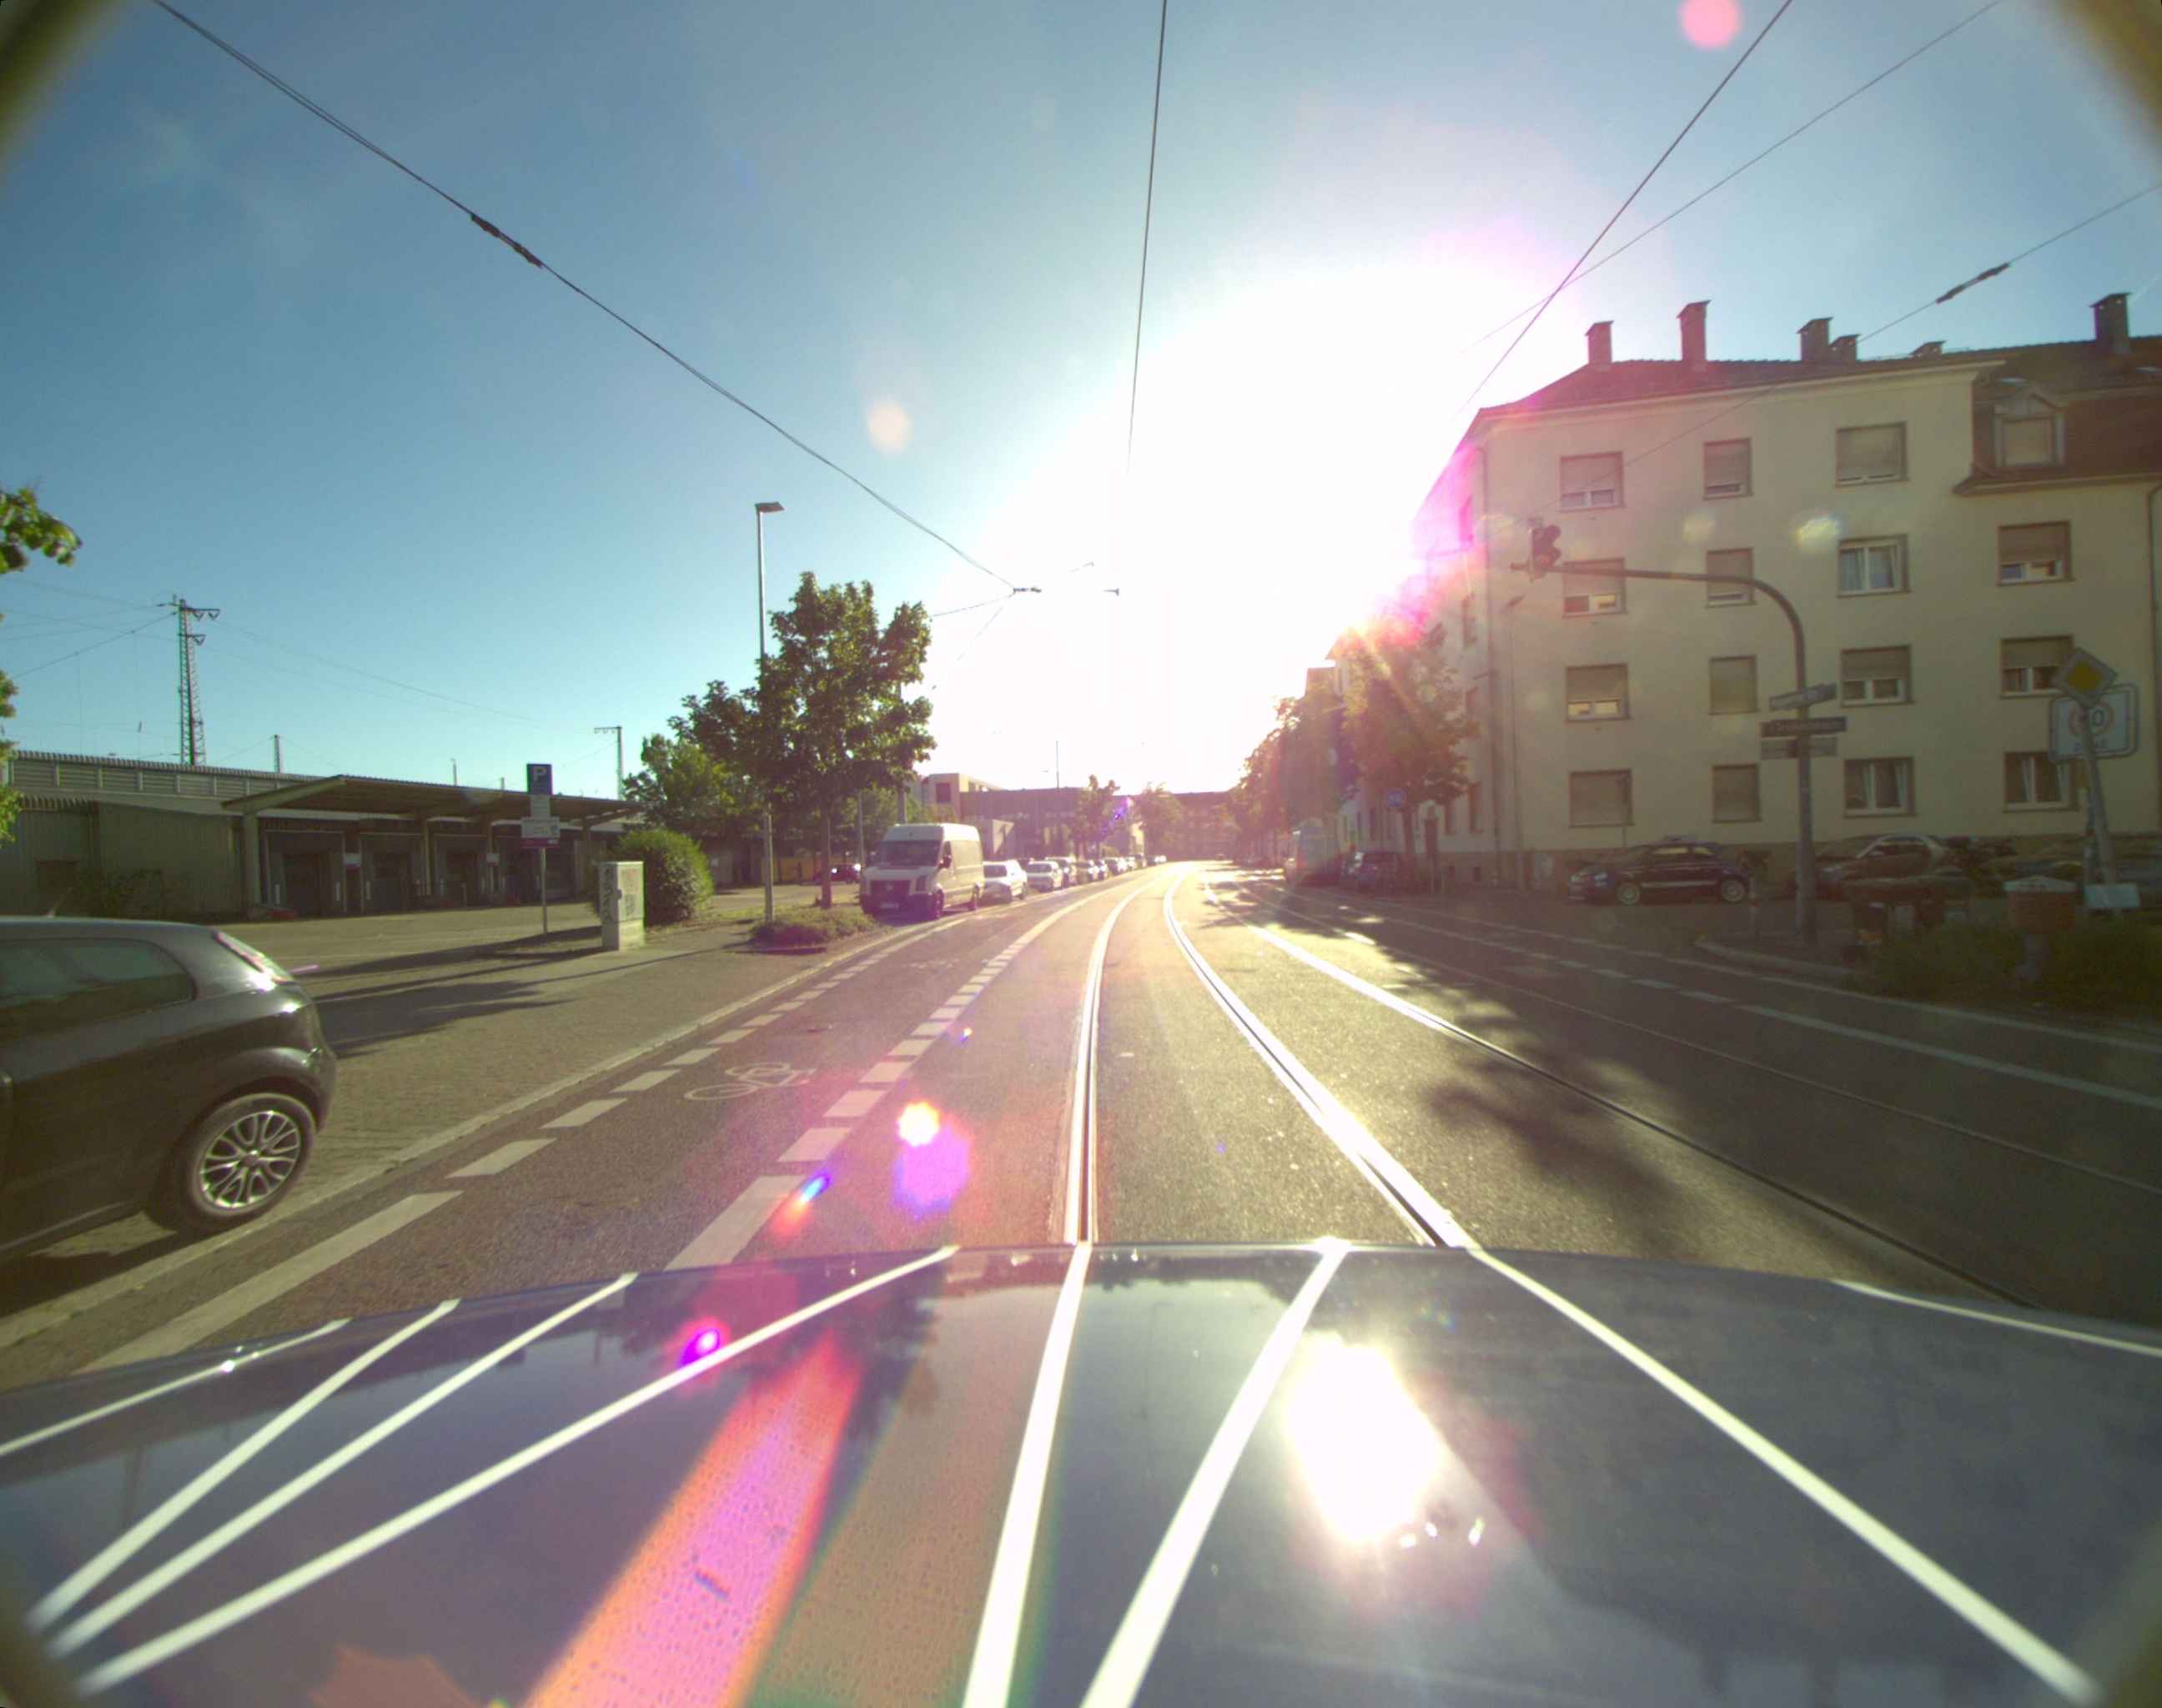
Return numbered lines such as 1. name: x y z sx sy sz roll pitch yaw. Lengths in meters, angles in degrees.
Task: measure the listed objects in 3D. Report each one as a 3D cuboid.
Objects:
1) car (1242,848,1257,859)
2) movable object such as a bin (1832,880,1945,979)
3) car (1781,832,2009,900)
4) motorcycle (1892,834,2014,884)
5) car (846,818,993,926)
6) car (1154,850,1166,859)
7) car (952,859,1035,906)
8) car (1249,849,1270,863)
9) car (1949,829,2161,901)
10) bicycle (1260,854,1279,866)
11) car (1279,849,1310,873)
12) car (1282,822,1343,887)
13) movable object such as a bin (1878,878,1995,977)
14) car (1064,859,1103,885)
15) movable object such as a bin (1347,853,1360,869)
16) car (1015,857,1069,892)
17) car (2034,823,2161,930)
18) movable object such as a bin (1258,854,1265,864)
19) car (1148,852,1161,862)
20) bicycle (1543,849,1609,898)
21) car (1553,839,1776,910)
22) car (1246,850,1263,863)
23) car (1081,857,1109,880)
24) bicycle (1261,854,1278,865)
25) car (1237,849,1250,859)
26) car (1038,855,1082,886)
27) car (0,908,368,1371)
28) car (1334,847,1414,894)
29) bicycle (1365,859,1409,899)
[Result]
1. car: 24.786 -0.080 112.048 1.877 1.420 4.295 -3 0 9
2. movable object such as a bin: 8.685 0.796 8.193 0.486 0.982 0.660 -3 1 1
3. car: 19.052 0.265 17.917 3.515 1.449 1.579 -2 1 5
4. motorcycle: 23.706 0.135 20.685 2.550 1.299 0.625 -1 2 1
5. car: -4.342 0.404 21.782 2.184 2.650 6.094 0 1 8
6. car: 14.232 0.071 136.653 1.715 1.481 4.627 -1 0 9
7. car: -3.129 0.996 28.299 1.914 1.521 4.603 -2 0 8
8. car: 20.926 0.245 89.190 1.868 1.482 4.664 -3 0 9
9. car: 22.970 0.220 17.286 4.176 1.449 1.711 -2 1 6
10. bicycle: 17.487 0.528 70.455 1.990 1.034 0.531 -4 1 -37
11. car: 14.957 0.479 53.389 1.654 1.482 4.002 -3 0 9
12. car: 11.139 -0.001 37.037 2.021 2.809 6.036 -3 0 10
13. movable object such as a bin: 9.199 0.775 8.195 0.486 0.982 0.660 -3 1 1
14. car: 0.207 1.123 49.835 1.731 1.455 4.501 -3 0 10
15. movable object such as a bin: 16.066 0.424 44.846 0.597 0.929 0.569 -2 1 6
16. car: -1.829 0.949 37.122 1.731 1.503 4.254 -1 1 9
17. car: 18.075 0.252 11.720 3.995 1.521 1.908 -3 0 7
18. movable object such as a bin: 19.593 0.562 82.322 0.583 0.954 0.702 -7 0 9
19. car: 11.921 0.459 123.178 1.705 1.473 4.661 0 1 9
20. bicycle: 13.419 0.530 20.597 1.505 1.222 0.397 -3 4 1
21. car: 14.023 0.480 18.459 3.894 1.449 1.769 -3 0 5
22. car: 22.048 0.279 96.678 1.776 1.477 4.308 -3 0 9
23. car: 1.069 1.046 56.063 1.731 1.455 4.342 -3 0 5
24. bicycle: 18.382 0.546 74.204 1.790 1.034 0.667 -4 1 -43
25. car: 25.179 -0.014 117.860 1.575 1.496 4.002 -3 0 9
26. car: -1.122 0.857 42.542 1.731 1.595 4.345 0 1 9
27. car: -4.669 1.065 1.998 1.693 1.521 4.000 -1 0 2
28. car: 10.997 0.545 28.851 1.794 1.551 4.645 -3 0 9
29. bicycle: 9.317 0.729 23.202 0.513 1.127 2.031 -3 0 2
